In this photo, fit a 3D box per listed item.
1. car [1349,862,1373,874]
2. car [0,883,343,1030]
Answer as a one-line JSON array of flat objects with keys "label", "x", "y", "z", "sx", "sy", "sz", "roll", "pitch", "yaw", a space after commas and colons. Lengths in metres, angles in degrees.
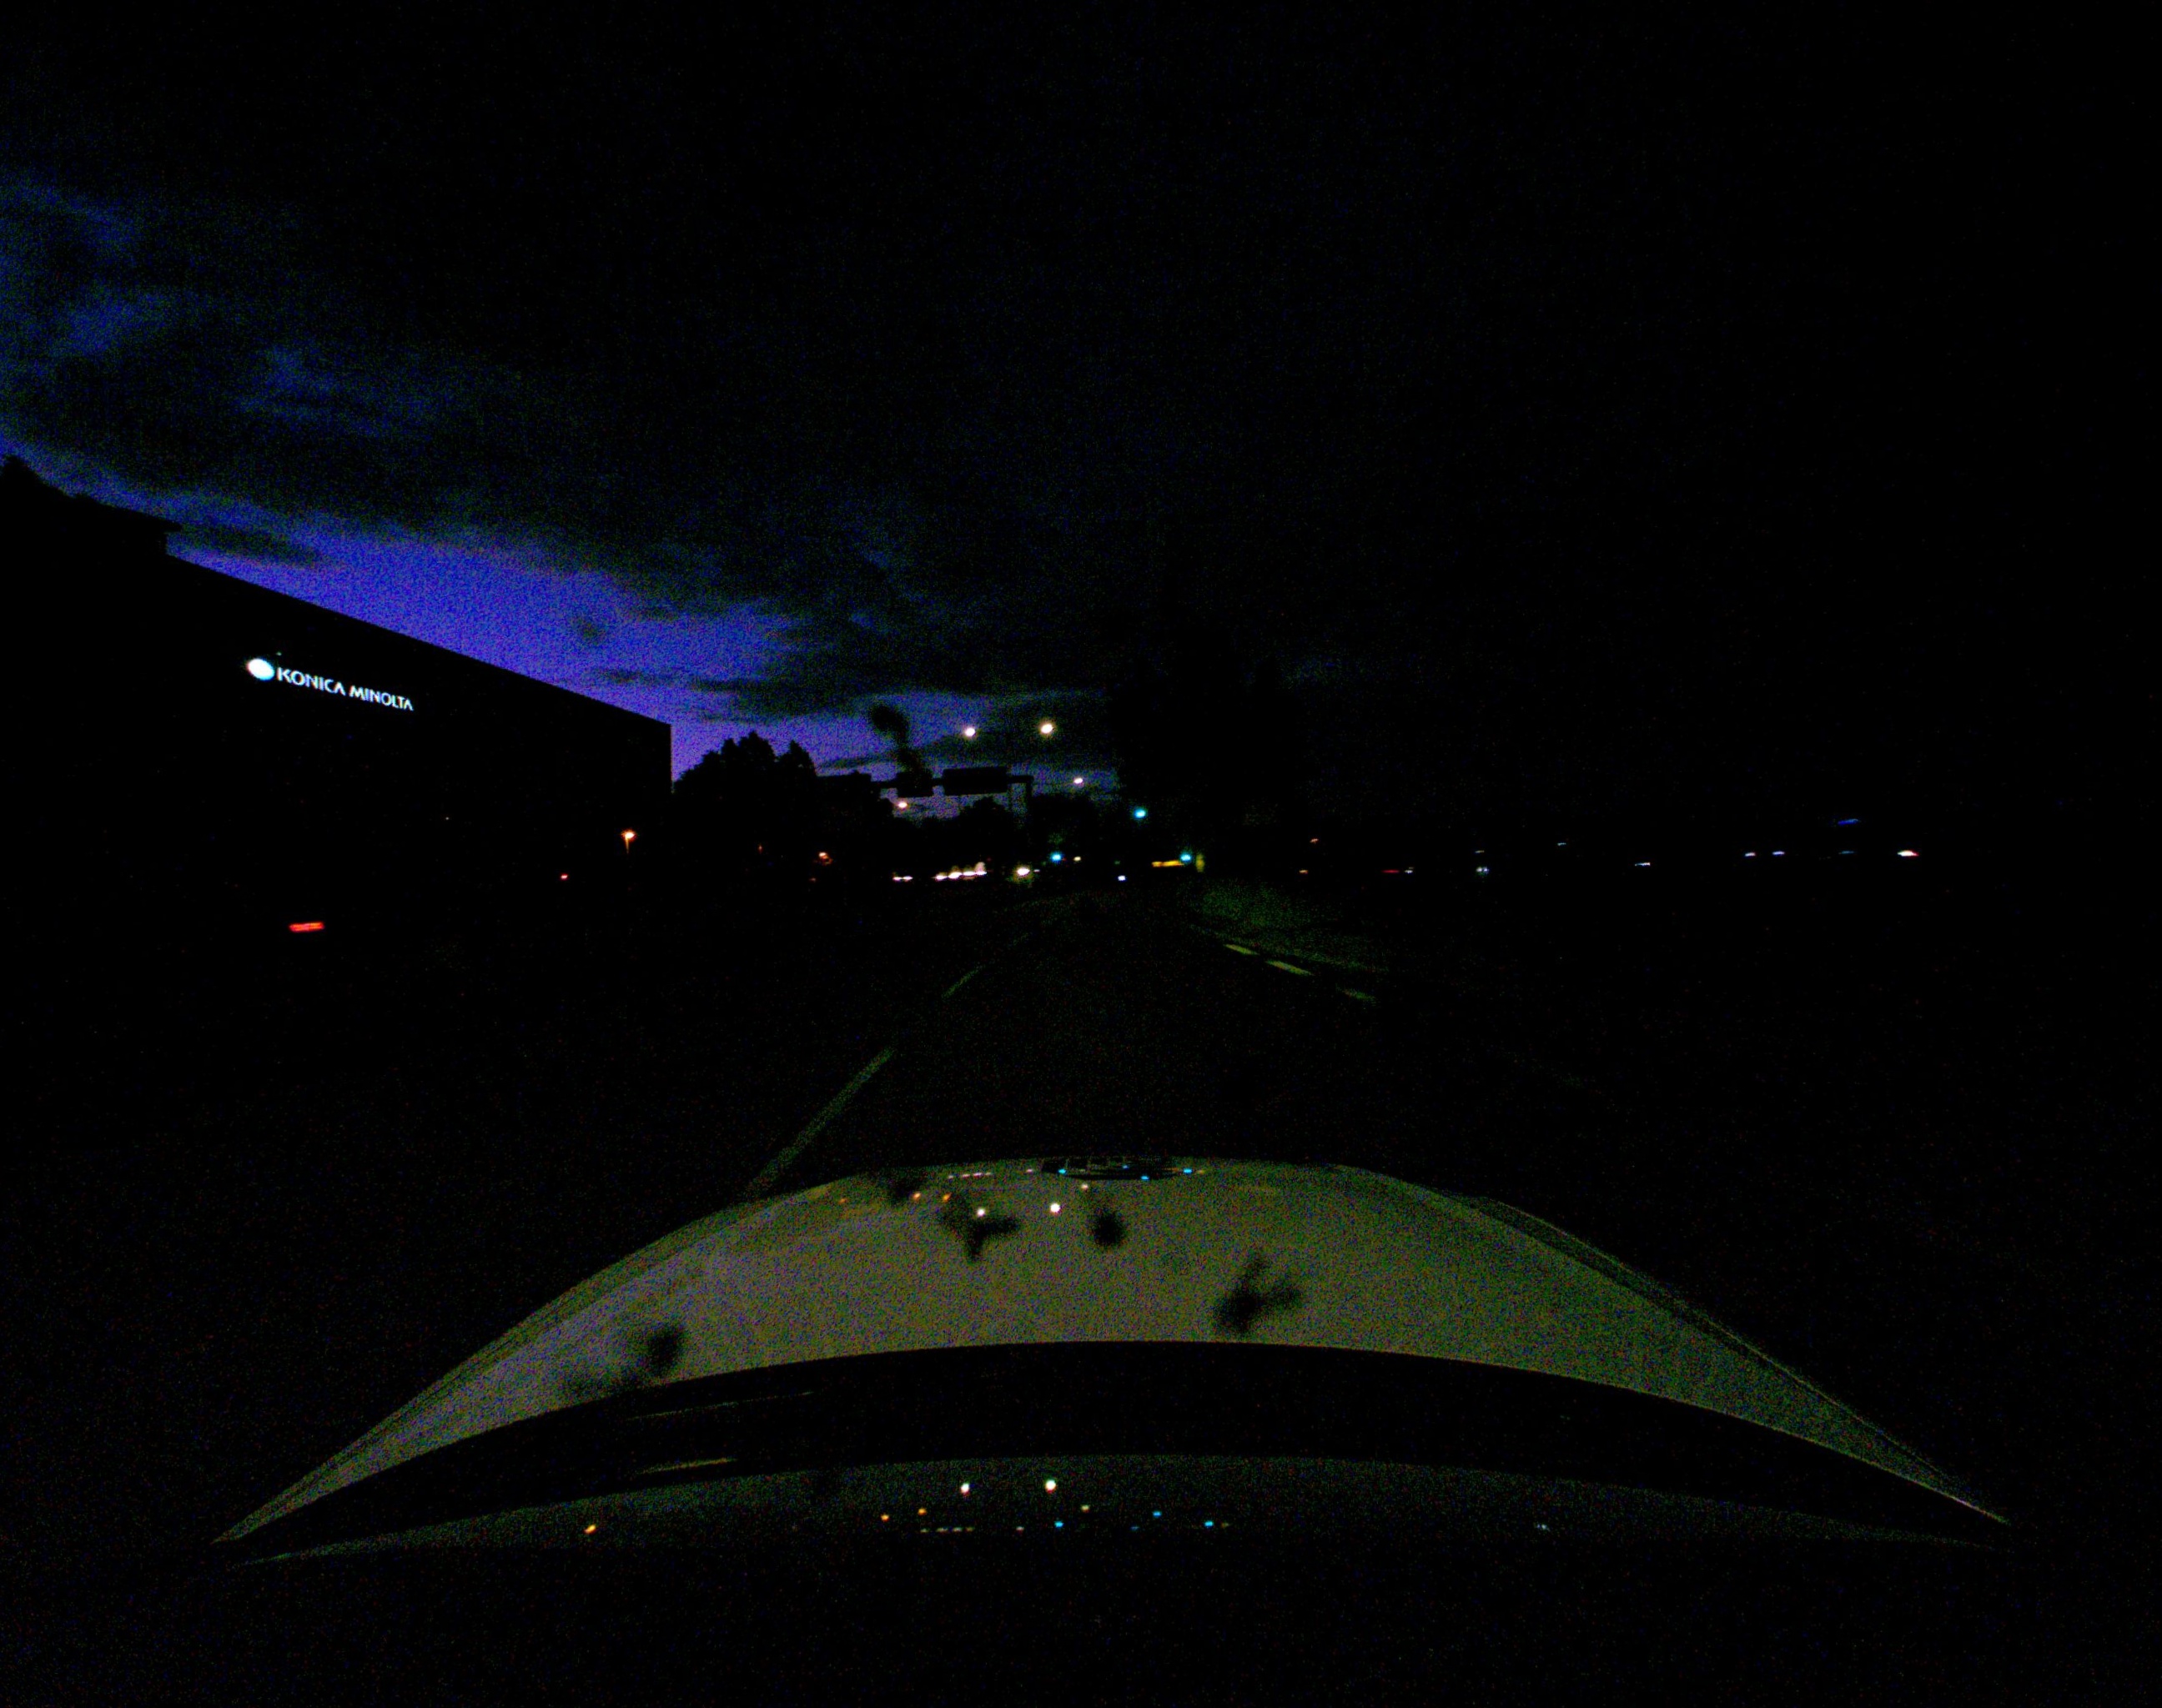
[{"label": "car", "x": 49.080, "y": 2.427, "z": 142.764, "sx": 4.019, "sy": 2.013, "sz": 1.977, "roll": -2, "pitch": 1, "yaw": -38}, {"label": "car", "x": -11.892, "y": 1.137, "z": 9.469, "sx": 1.861, "sy": 1.398, "sz": 4.846, "roll": -2, "pitch": 0, "yaw": 6}]
